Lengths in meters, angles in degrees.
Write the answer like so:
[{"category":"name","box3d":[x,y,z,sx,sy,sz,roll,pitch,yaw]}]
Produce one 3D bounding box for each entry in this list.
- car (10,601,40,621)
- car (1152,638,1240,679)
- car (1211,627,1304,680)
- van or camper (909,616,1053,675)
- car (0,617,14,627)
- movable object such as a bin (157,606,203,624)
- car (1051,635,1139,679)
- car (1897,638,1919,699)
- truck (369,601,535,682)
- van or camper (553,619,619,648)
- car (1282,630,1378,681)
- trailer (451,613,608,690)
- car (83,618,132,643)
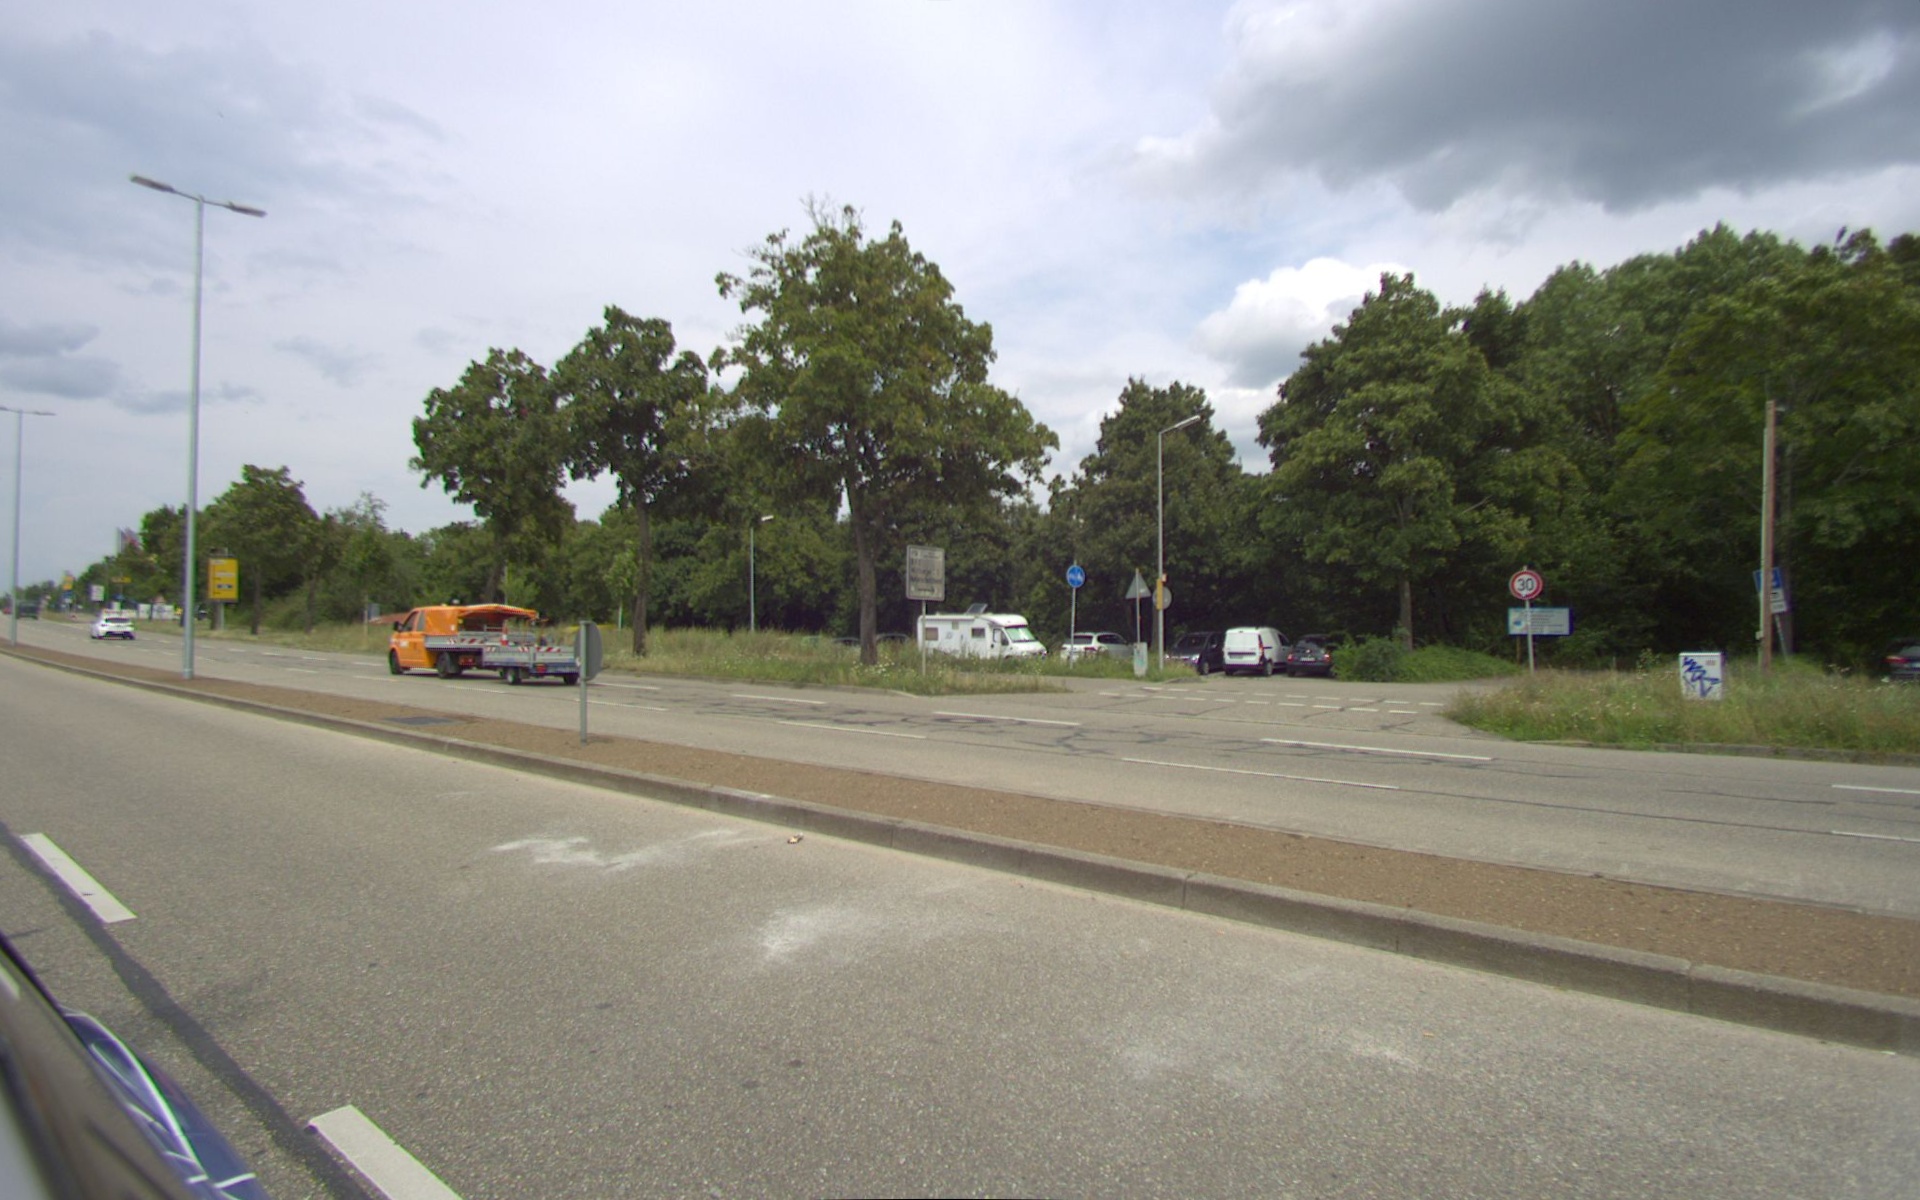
[{"category":"car","box3d":[-113.252,1.345,122.539,6.002,2.218,2.073,-1,-3,42]},{"category":"car","box3d":[9.450,2.305,40.399,1.795,1.497,3.945,-2,-2,41]},{"category":"car","box3d":[11.385,1.989,38.622,1.938,1.901,3.945,-2,-2,41]},{"category":"van or camper","box3d":[0.877,2.074,46.873,6.718,2.560,2.445,-2,-2,42]},{"category":"car","box3d":[-131.960,3.055,139.587,4.689,1.442,1.971,-2,-3,44]},{"category":"movable object such as a bin","box3d":[-105.918,2.098,137.510,1.995,2.415,4.540,-2,-2,34]},{"category":"car","box3d":[5.781,2.380,43.095,1.885,1.729,3.946,-2,-2,40]},{"category":"car","box3d":[26.308,1.786,27.029,1.785,1.510,3.944,-2,-2,42]},{"category":"truck","box3d":[-14.071,1.145,27.820,6.038,2.010,2.066,-2,-4,43]},{"category":"van or camper","box3d":[-28.419,2.519,76.890,4.298,2.029,2.004,-1,0,-39]},{"category":"car","box3d":[13.631,2.006,37.218,2.045,1.726,3.945,-2,-2,41]},{"category":"trailer","box3d":[-10.485,1.204,24.535,3.894,1.702,2.040,-1,-3,42]},{"category":"car","box3d":[-52.246,1.889,61.983,4.159,1.431,1.698,-2,-4,42]}]
